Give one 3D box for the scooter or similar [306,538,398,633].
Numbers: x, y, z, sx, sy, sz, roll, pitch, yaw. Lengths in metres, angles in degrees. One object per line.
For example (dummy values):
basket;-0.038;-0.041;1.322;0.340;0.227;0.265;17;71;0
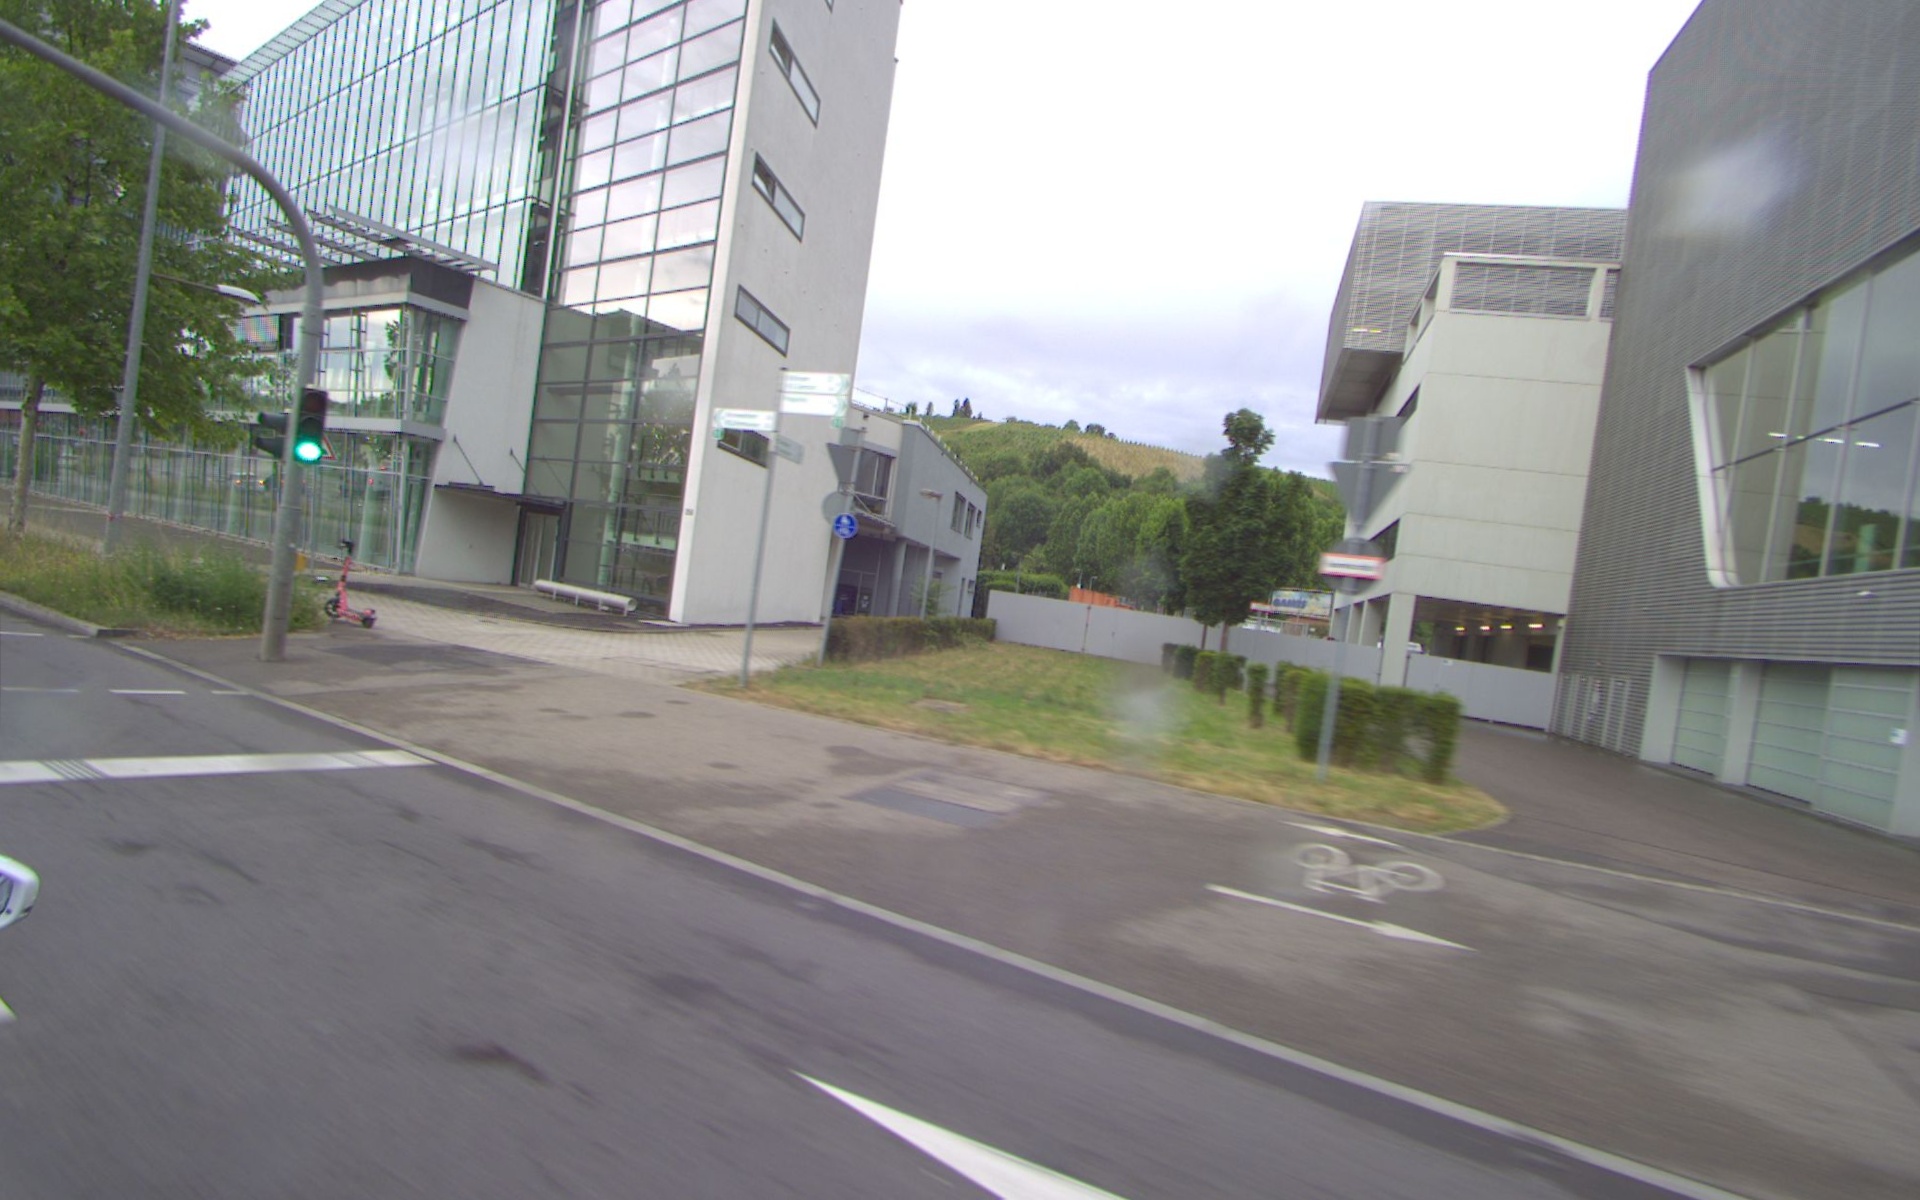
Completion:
scooter or similar;-9.063;-0.222;14.991;1.313;1.280;0.458;7;3;26
